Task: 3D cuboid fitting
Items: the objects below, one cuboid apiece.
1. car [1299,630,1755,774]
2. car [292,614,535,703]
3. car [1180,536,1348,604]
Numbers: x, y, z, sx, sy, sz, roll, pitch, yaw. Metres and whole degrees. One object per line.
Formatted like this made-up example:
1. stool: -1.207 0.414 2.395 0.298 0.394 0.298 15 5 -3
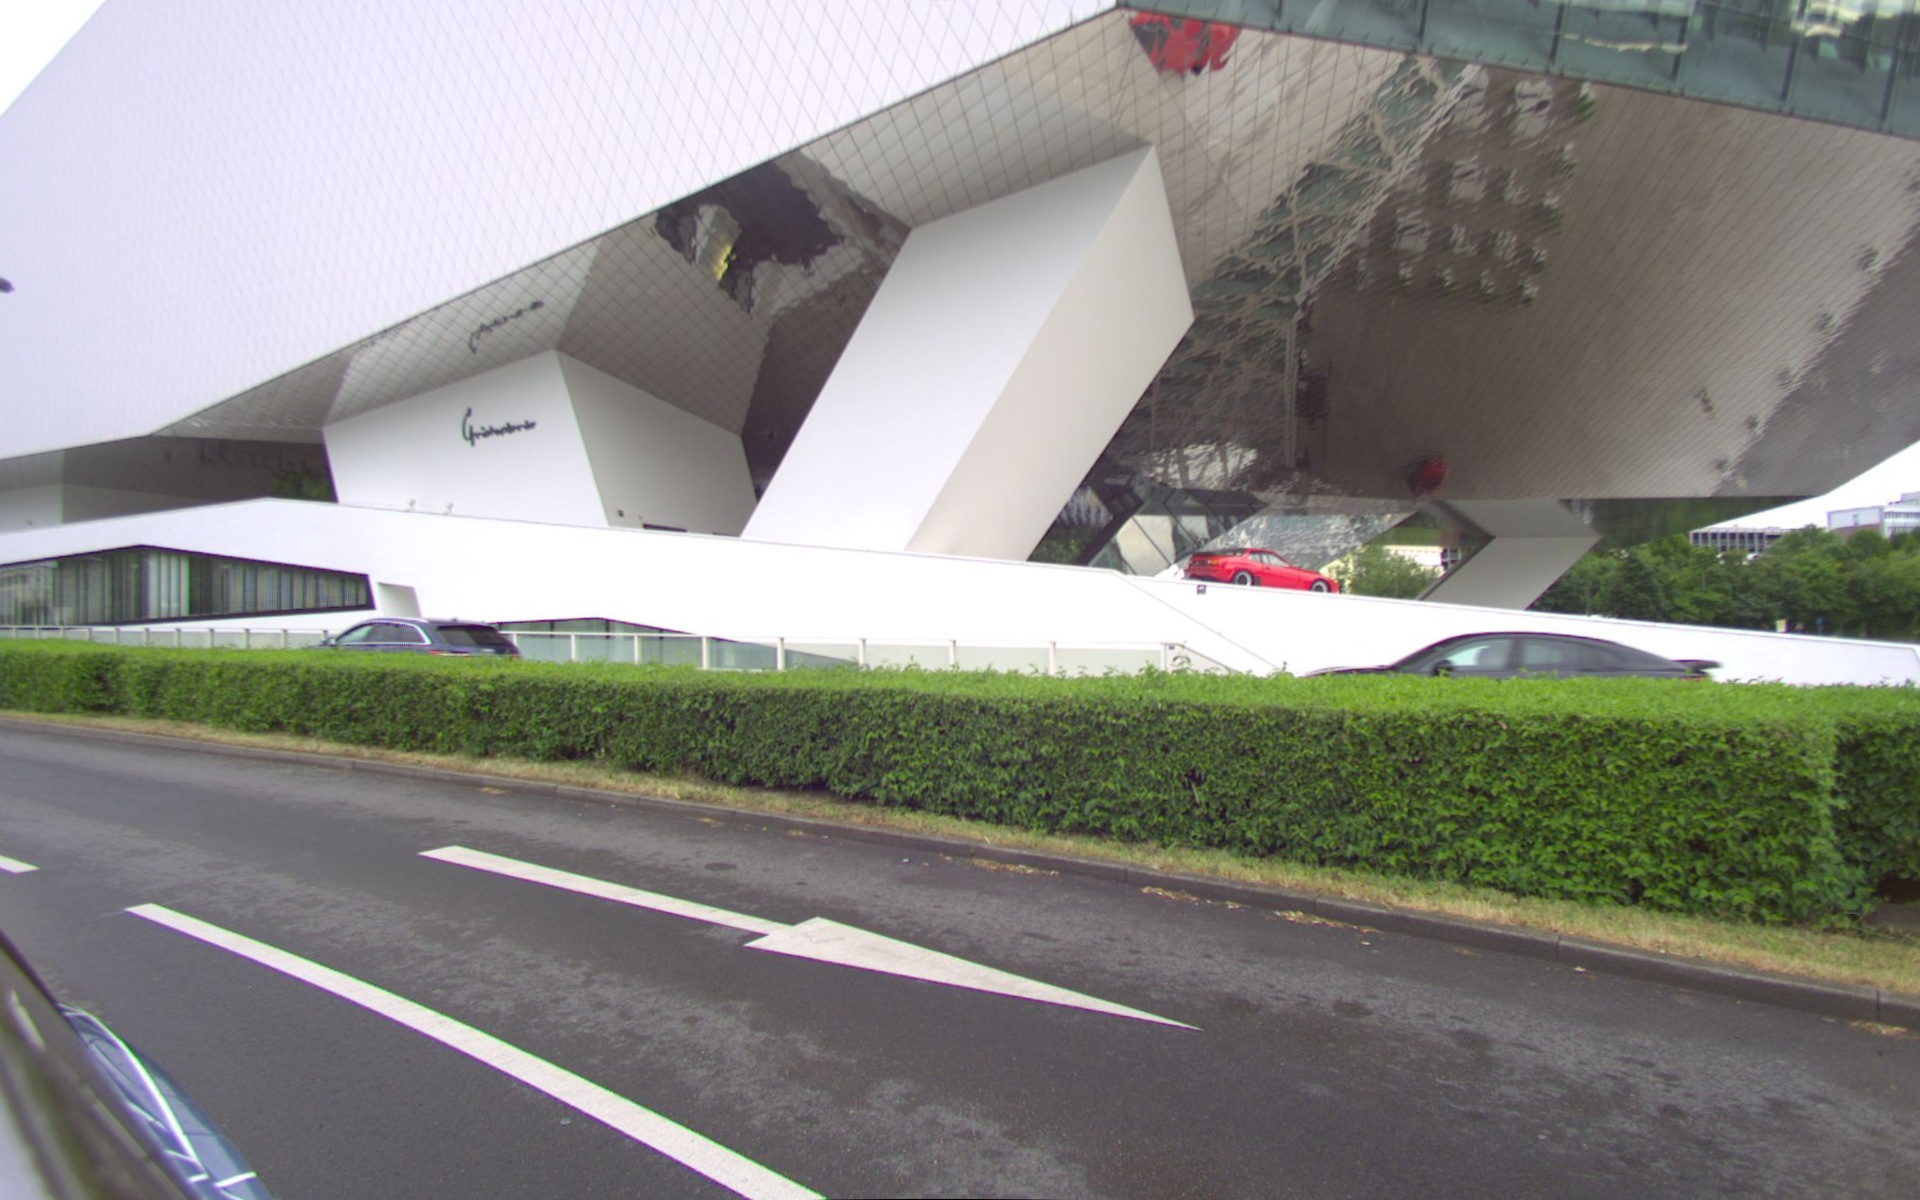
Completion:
1. car: 6.484 1.128 12.216 4.480 1.483 1.827 -1 -2 20
2. car: -9.282 0.942 17.133 3.984 1.348 1.832 -1 -2 30
3. car: 8.264 -0.786 27.544 4.032 1.252 1.643 7 -4 -15
